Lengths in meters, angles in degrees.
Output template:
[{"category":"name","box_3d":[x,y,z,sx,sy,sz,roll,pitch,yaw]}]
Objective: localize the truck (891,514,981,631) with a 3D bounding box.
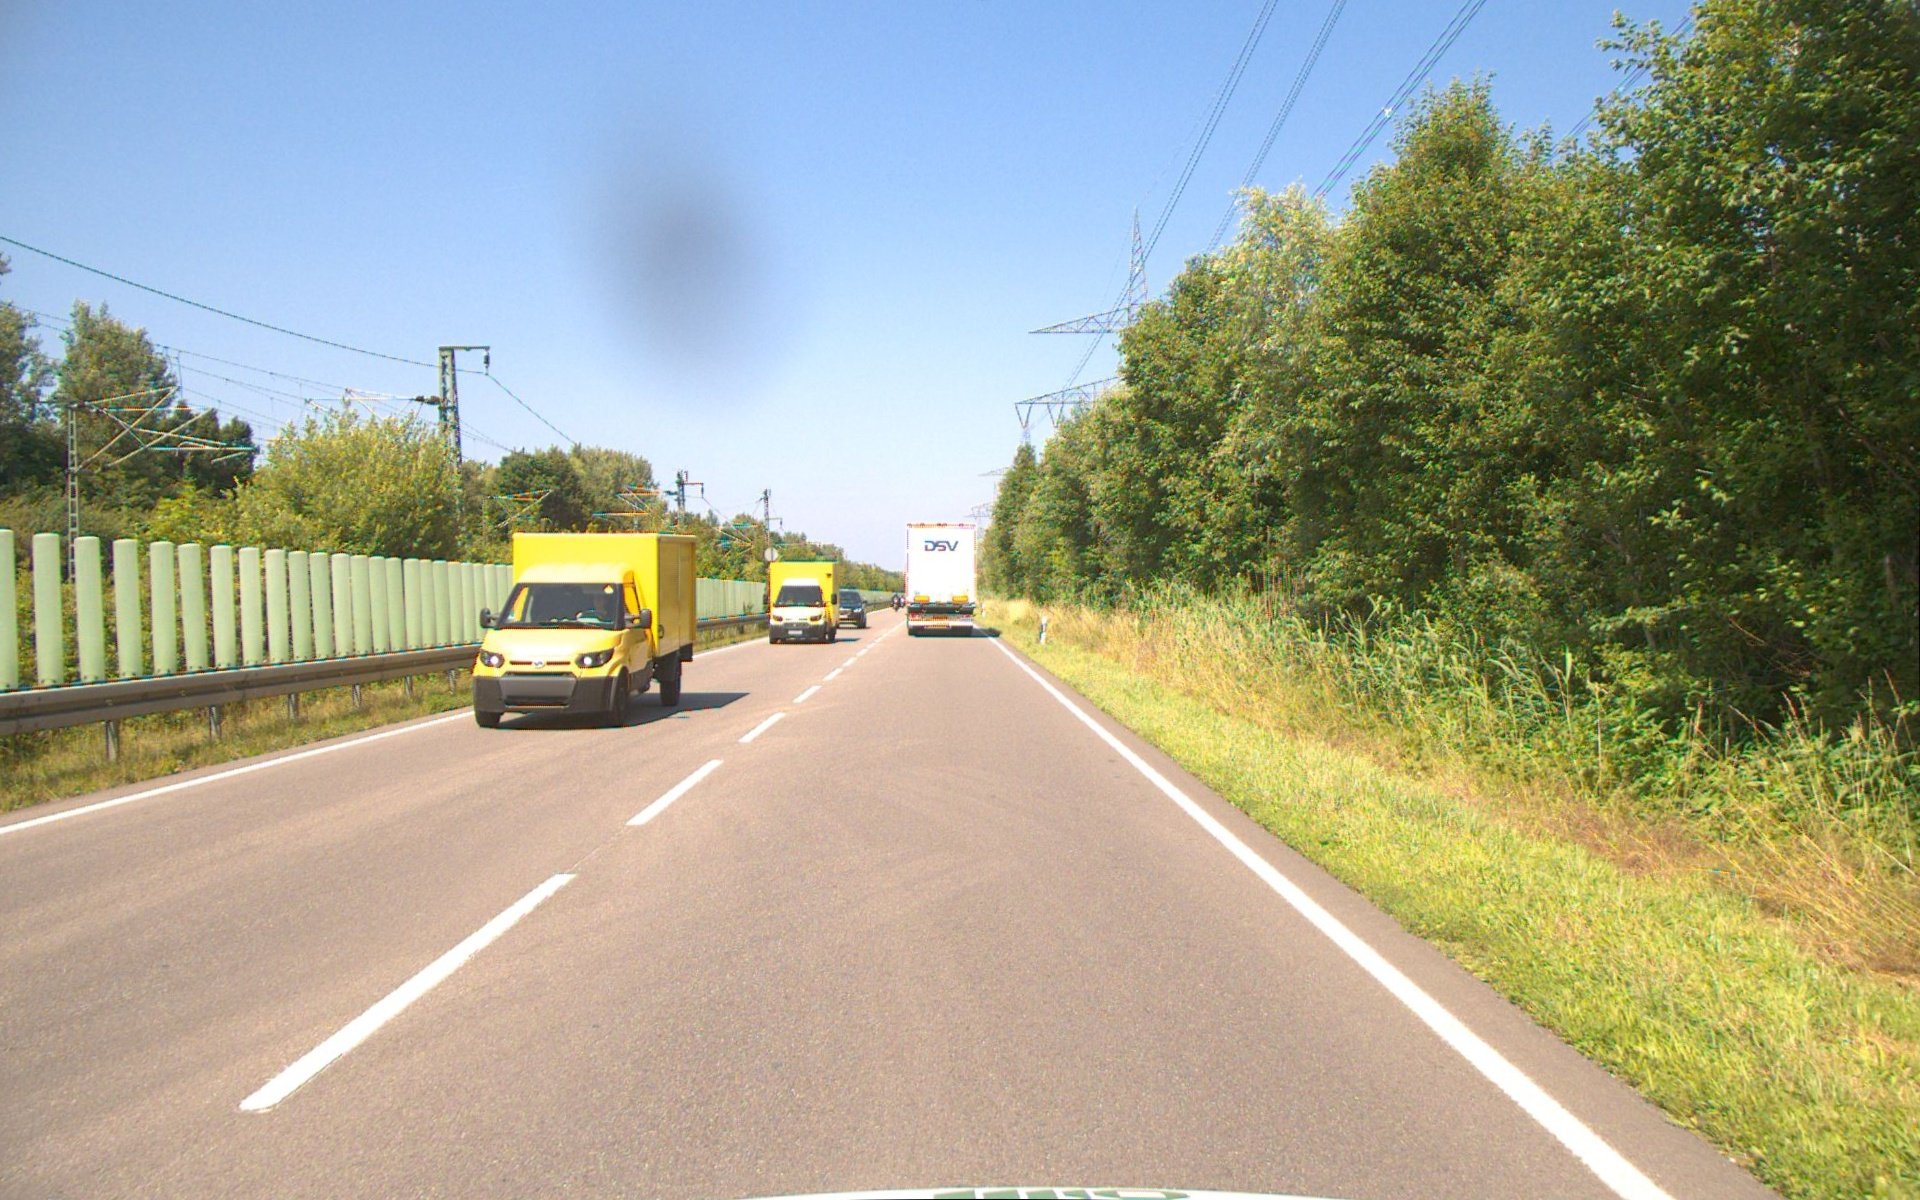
[{"category":"truck","box_3d":[-0.977,-0.990,64.077,3.127,4.113,12.003,0,0,-1]}]

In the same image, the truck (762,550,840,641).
[{"category":"truck","box_3d":[-4.940,-0.140,52.078,2.038,2.693,5.703,0,0,-1]}]

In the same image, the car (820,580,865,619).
[{"category":"car","box_3d":[-5.274,-0.032,74.630,1.777,1.723,4.705,0,0,-1]}]

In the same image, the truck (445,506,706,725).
[{"category":"truck","box_3d":[-4.657,0.156,21.052,1.953,2.389,6.011,0,0,0]}]
